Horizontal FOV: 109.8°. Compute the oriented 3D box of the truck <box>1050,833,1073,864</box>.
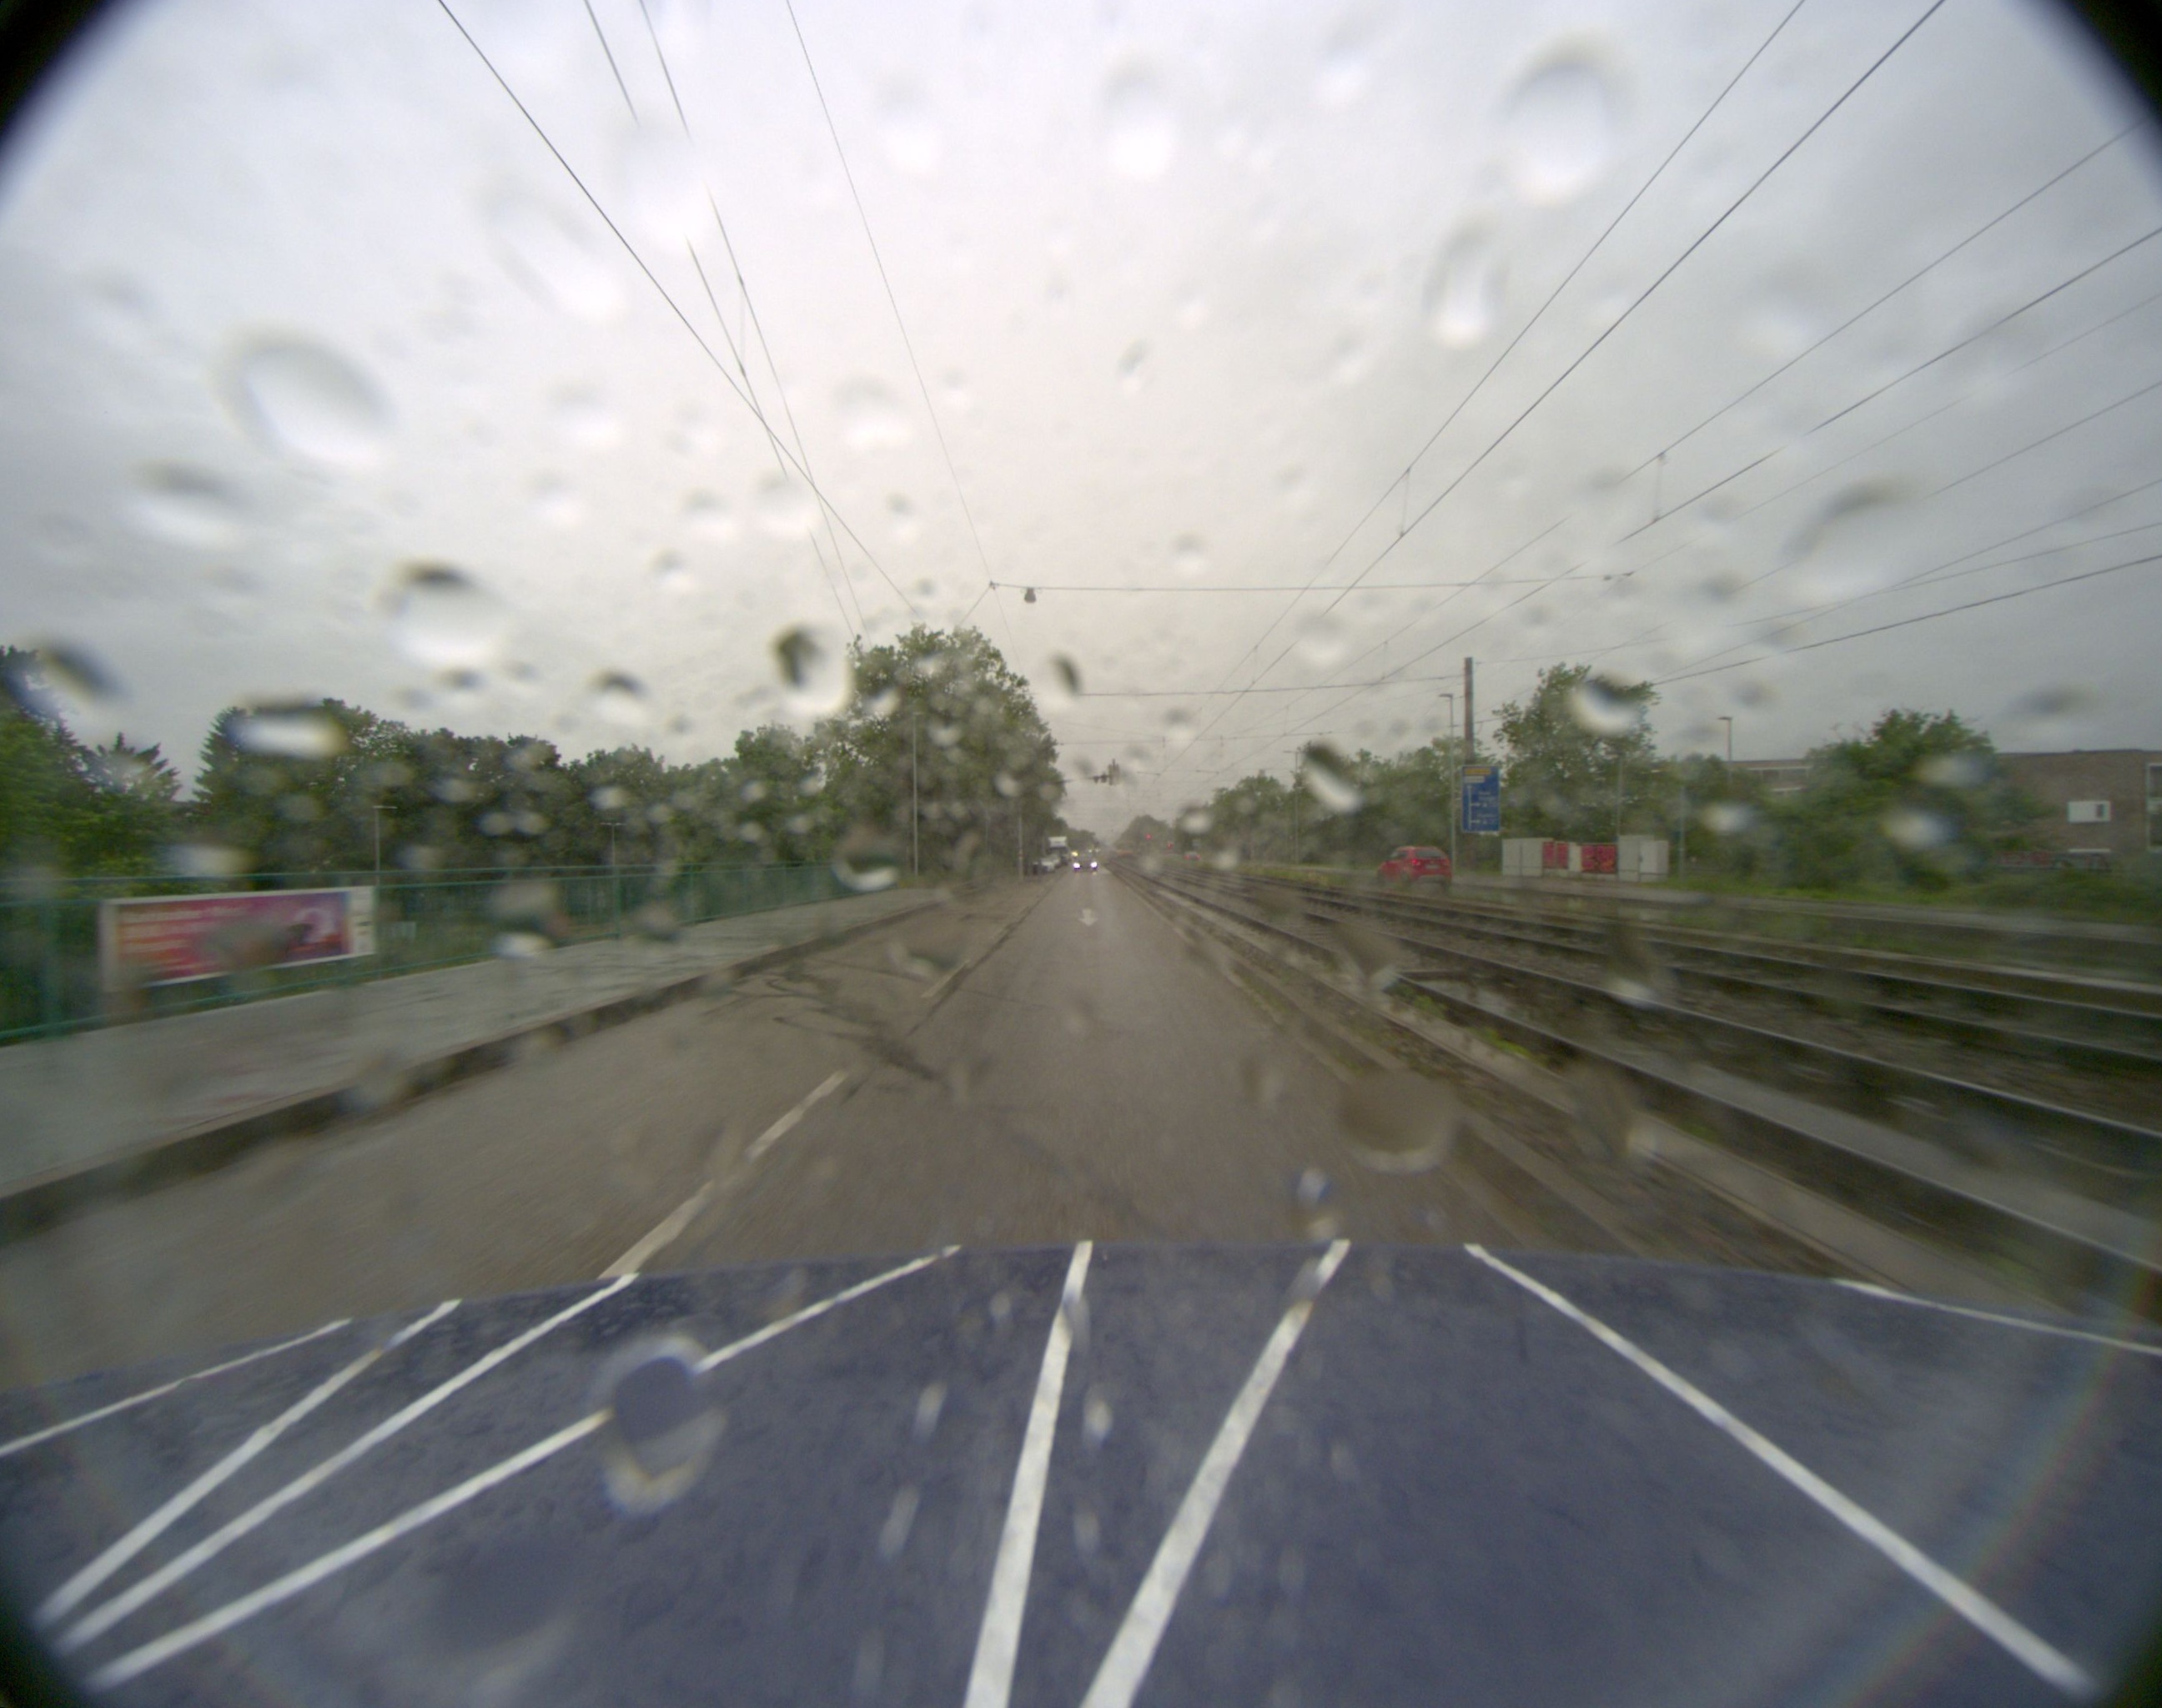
[{"bbox_3d":[-2.495,-0.659,100.002,2.567,3.847,7.846,-3,0,1],"label":"truck"}]

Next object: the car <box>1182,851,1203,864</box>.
[{"bbox_3d":[14.516,0.398,99.283,1.999,1.514,4.956,-3,1,0],"label":"car"}]

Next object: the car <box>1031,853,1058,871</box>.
[{"bbox_3d":[-3.027,0.652,64.531,1.998,1.394,4.196,-3,0,1],"label":"car"}]

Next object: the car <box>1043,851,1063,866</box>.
[{"bbox_3d":[-3.063,0.497,84.180,1.998,1.497,4.196,-3,0,1],"label":"car"}]

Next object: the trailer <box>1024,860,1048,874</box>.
[{"bbox_3d":[-3.450,0.973,58.495,1.546,0.932,3.276,-3,0,1],"label":"trailer"}]

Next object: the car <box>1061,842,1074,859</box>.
[{"bbox_3d":[-2.273,-0.598,131.285,1.998,2.661,4.196,-3,0,1],"label":"car"}]

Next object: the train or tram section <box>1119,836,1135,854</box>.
[{"bbox_3d":[9.554,-1.886,160.617,2.460,3.603,15.104,-3,1,1],"label":"train or tram section"}]

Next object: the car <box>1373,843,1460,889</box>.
[{"bbox_3d":[12.839,0.416,29.305,1.728,1.592,3.650,-3,1,0],"label":"car"}]

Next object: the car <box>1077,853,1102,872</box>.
[{"bbox_3d":[0.708,0.752,65.223,1.998,1.497,4.196,-3,0,1],"label":"car"}]
